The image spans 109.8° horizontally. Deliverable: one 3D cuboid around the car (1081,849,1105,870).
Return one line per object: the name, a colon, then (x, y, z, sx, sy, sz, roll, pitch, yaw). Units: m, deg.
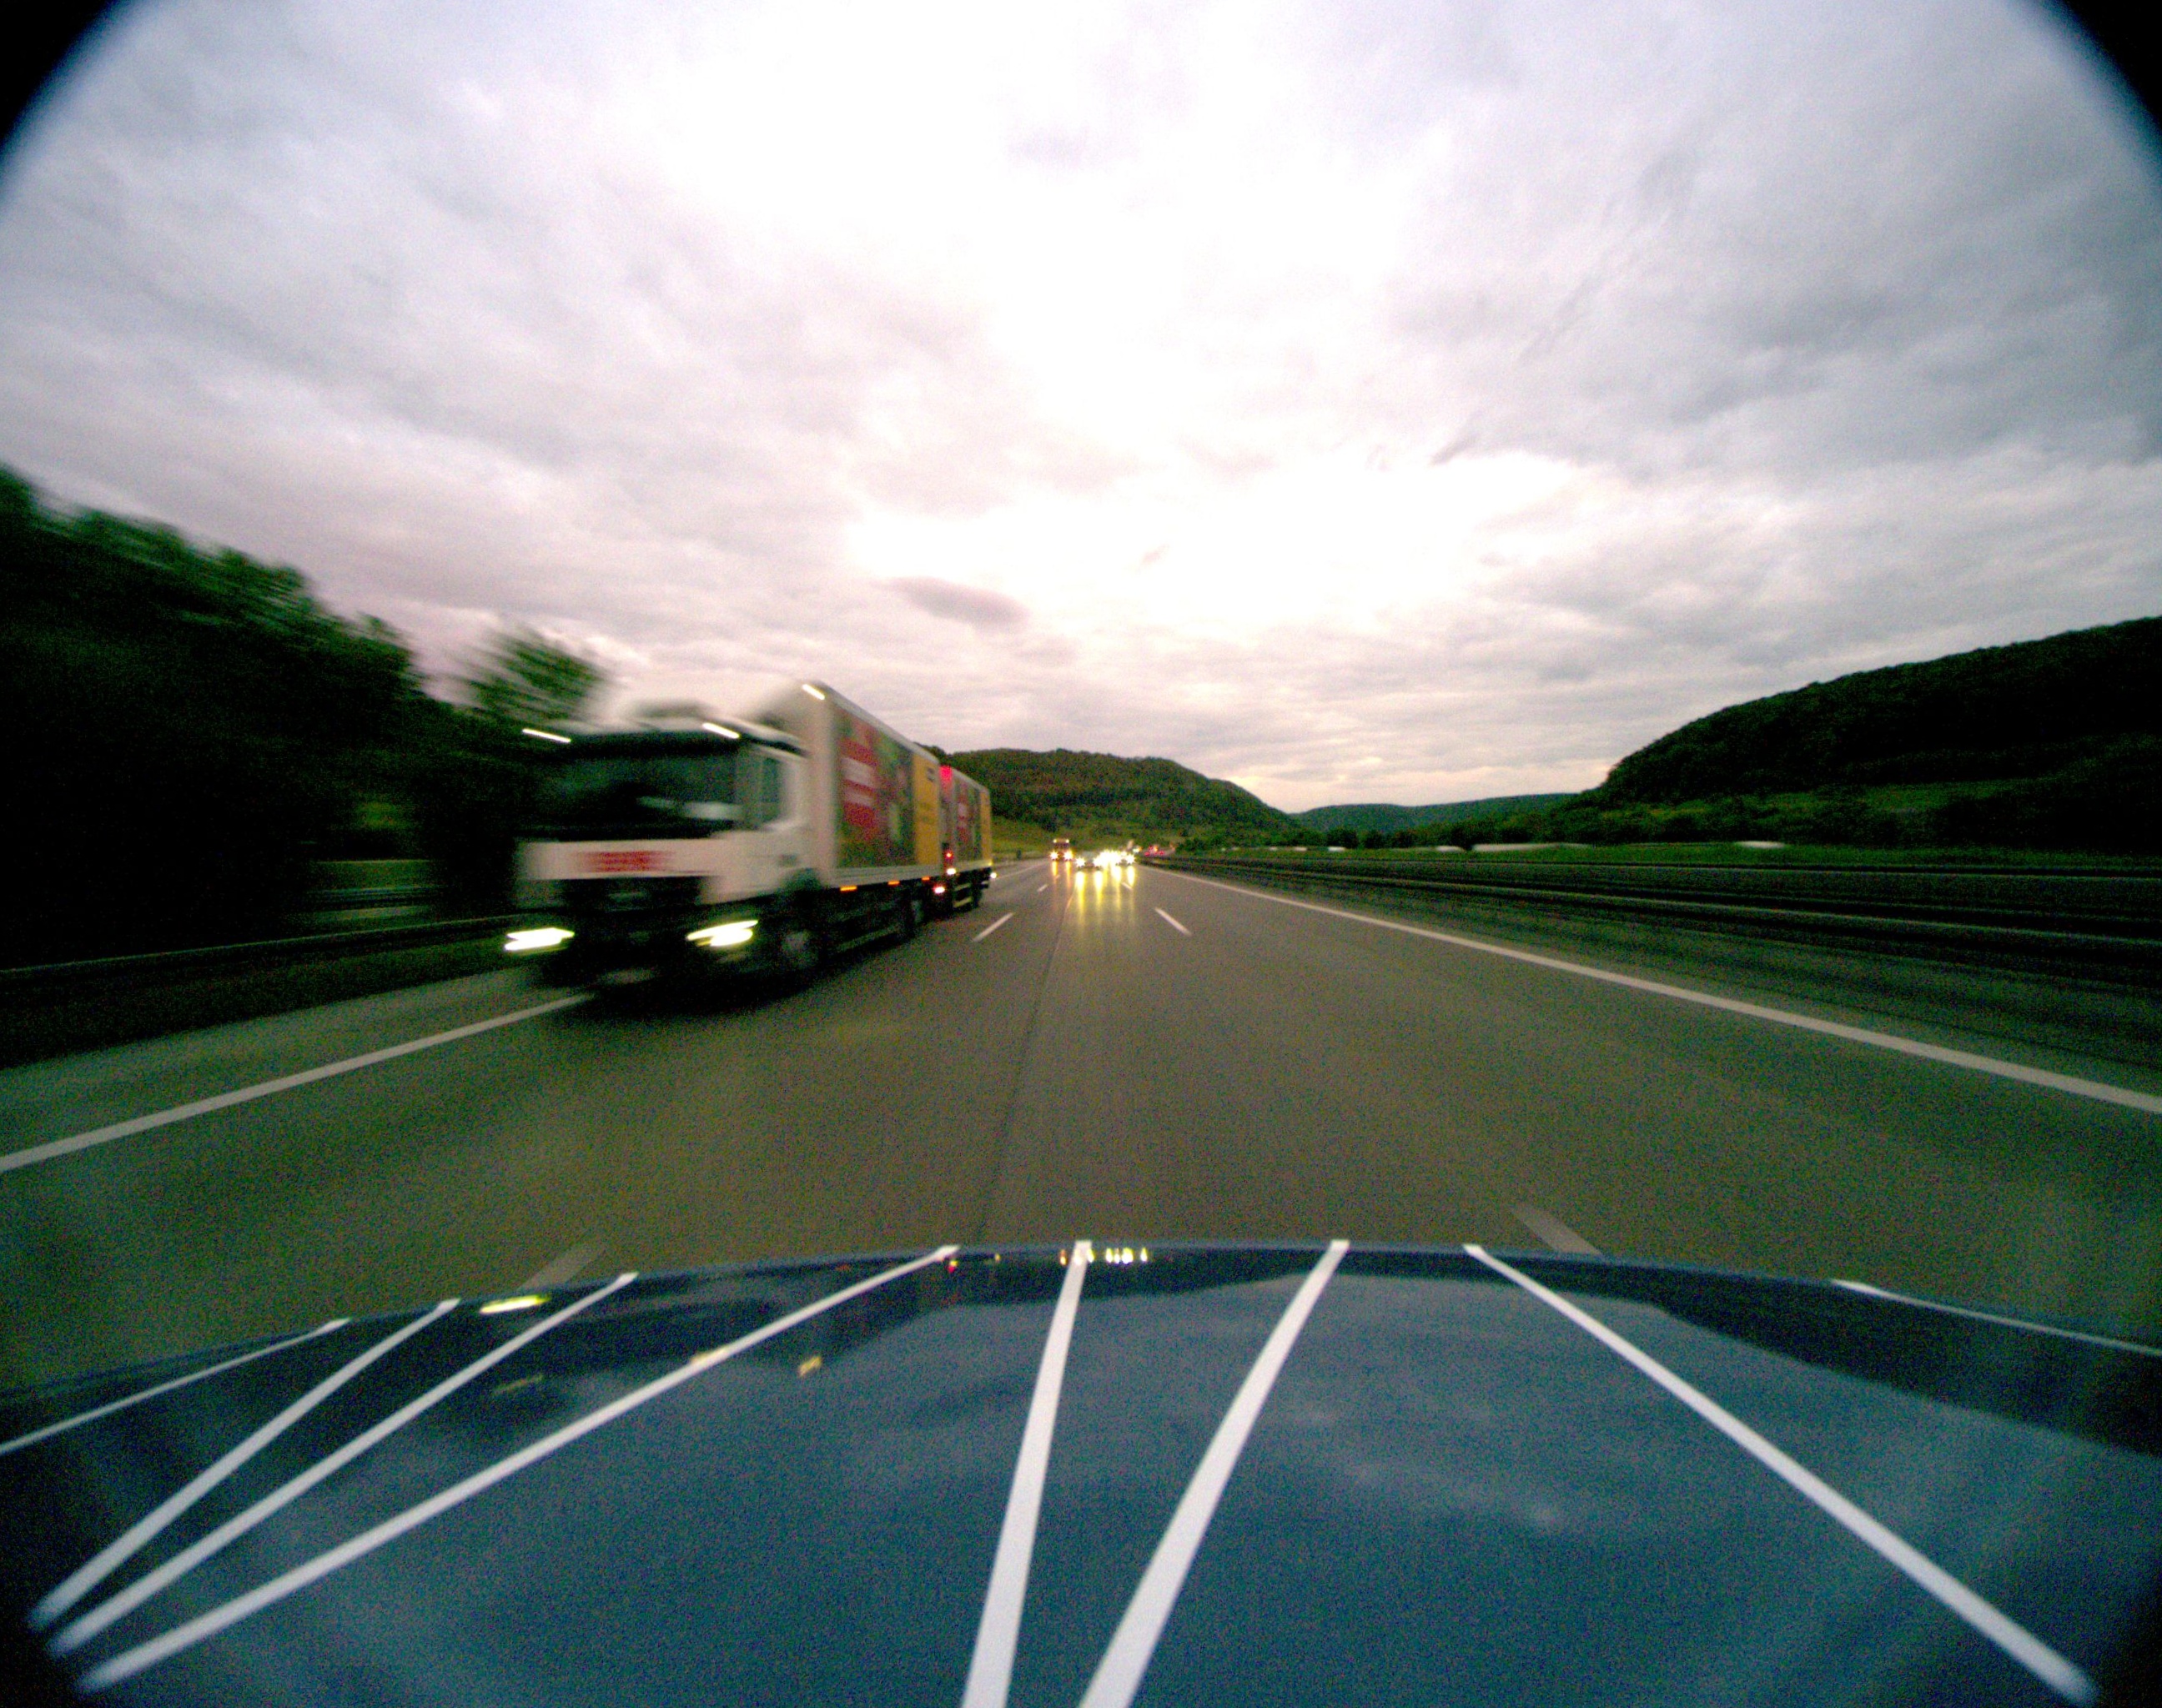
car: (0.975, 0.417, 62.371, 1.927, 1.674, 4.806, -1, 1, 1)

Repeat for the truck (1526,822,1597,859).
truck: (41.446, -1.141, 65.726, 2.874, 3.070, 5.304, -1, 1, 1)

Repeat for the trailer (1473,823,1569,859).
trailer: (41.552, -1.193, 72.328, 2.874, 3.070, 11.159, -1, 0, 1)

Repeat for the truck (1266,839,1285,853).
truck: (43.588, -1.771, 170.453, 2.874, 3.070, 5.892, -1, 1, 1)

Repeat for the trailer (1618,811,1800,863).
trailer: (41.473, -1.029, 50.987, 2.874, 3.070, 11.157, -1, 0, -1)

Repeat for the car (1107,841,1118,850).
car: (6.153, -1.639, 149.463, 1.894, 1.650, 5.639, -2, 1, 1)

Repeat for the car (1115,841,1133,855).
car: (4.797, -0.696, 85.569, 1.794, 1.492, 5.037, -2, 0, 0)

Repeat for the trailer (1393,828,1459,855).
trailer: (41.808, -1.392, 92.560, 2.880, 3.035, 11.726, -1, 0, 1)

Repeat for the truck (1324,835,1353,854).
truck: (42.886, -1.626, 126.741, 2.874, 3.070, 5.892, -1, 1, 1)

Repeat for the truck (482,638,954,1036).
truck: (-4.376, -0.210, 12.556, 2.623, 3.805, 10.385, -1, 1, 1)

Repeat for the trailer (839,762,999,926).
trailer: (-4.265, -0.286, 22.251, 2.623, 3.805, 8.877, -1, 1, 1)

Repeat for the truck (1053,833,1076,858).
truck: (-2.621, -1.356, 124.672, 3.119, 3.850, 14.162, 1, 0, 1)

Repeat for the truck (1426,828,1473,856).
truck: (41.774, -1.303, 86.360, 2.874, 3.070, 5.304, -1, 1, 1)

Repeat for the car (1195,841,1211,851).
car: (22.034, -1.470, 137.688, 1.998, 1.691, 5.116, 2, 0, 0)
